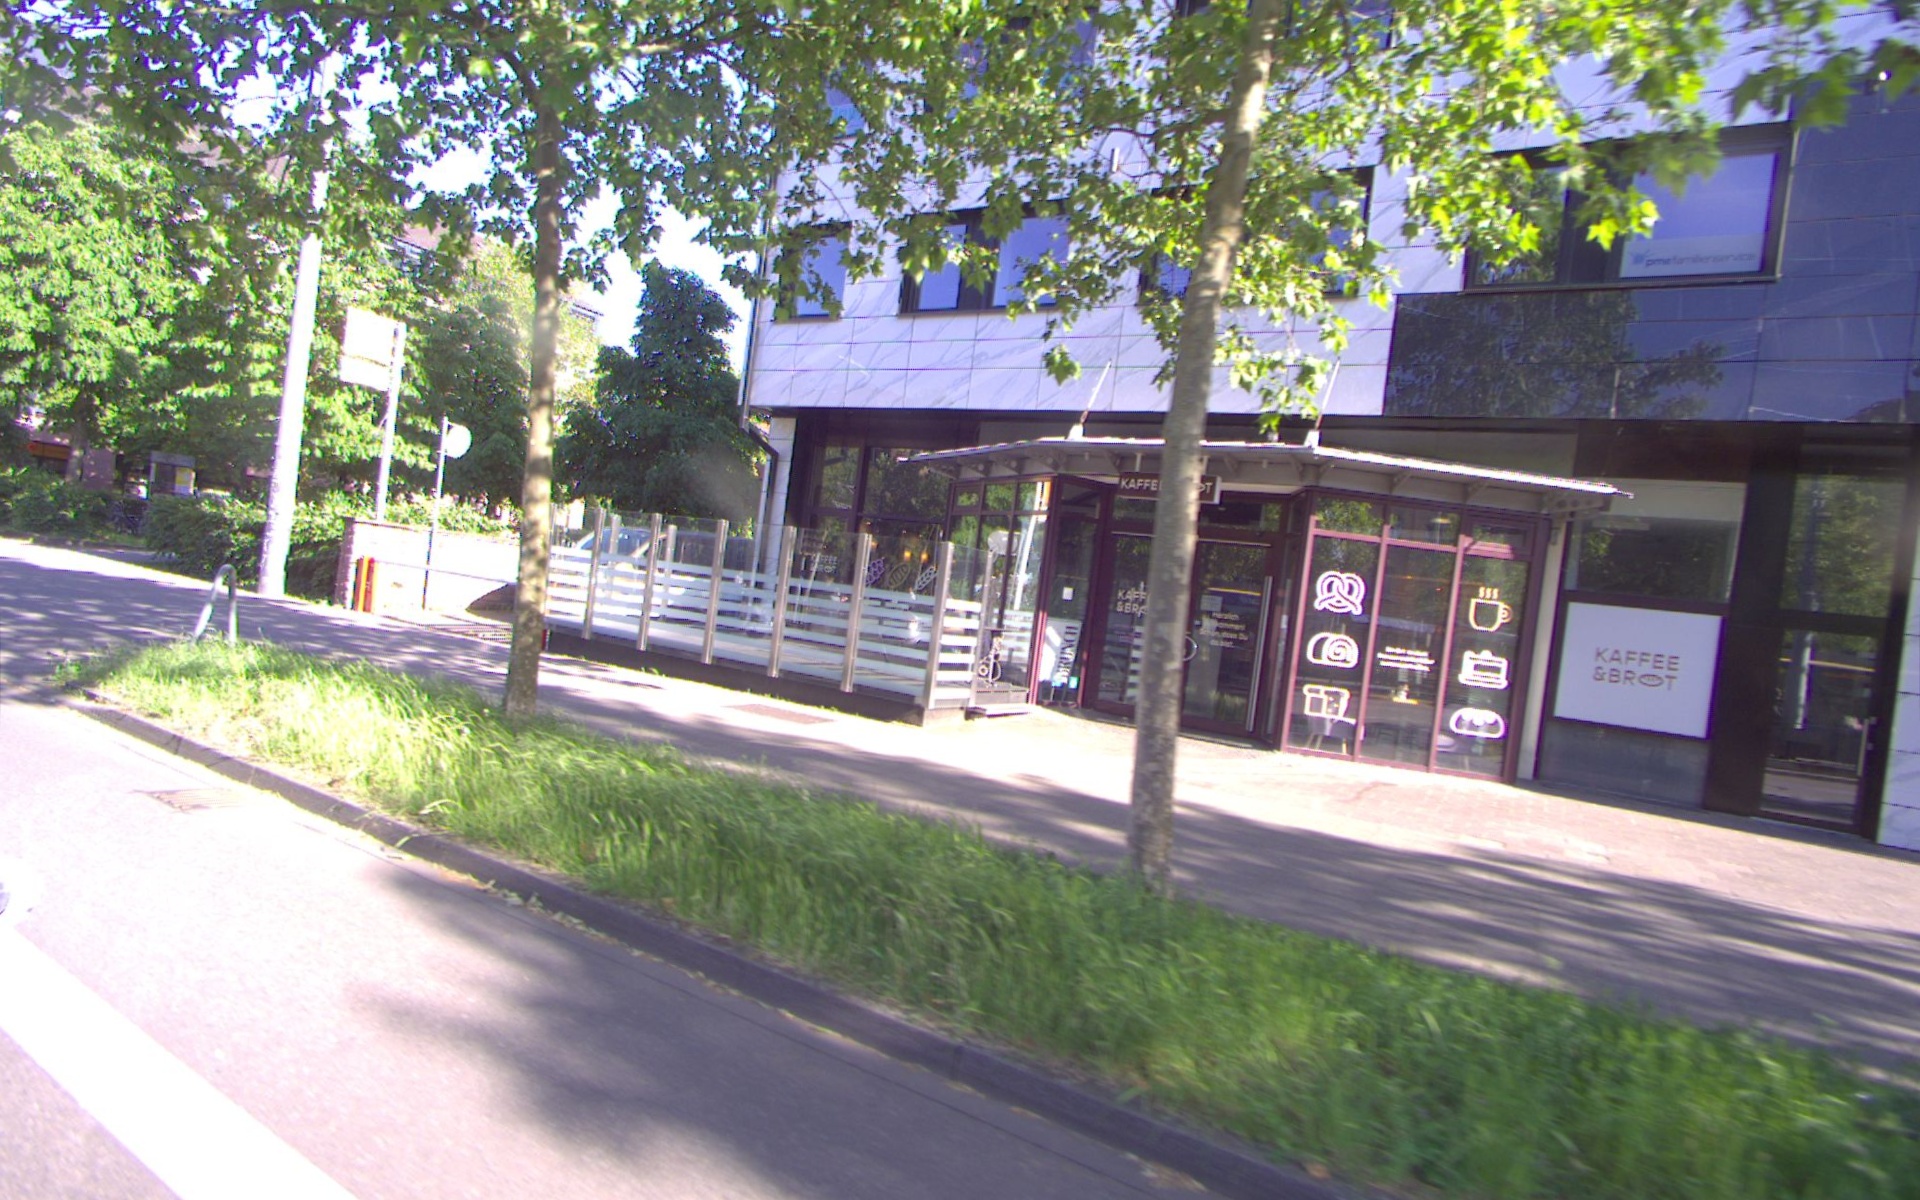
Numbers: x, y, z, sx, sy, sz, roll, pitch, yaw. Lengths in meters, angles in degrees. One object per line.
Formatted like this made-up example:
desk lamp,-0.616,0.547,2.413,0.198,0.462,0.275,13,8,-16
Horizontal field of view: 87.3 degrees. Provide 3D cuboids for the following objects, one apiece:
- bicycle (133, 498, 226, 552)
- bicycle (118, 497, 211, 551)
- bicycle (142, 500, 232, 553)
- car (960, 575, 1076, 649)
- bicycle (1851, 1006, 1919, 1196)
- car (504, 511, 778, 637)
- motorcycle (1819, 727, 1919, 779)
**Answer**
bicycle,-22.842,-2.187,29.486,0.565,1.331,1.997,7,1,34
bicycle,-23.413,-2.219,29.652,0.565,1.331,1.997,7,1,34
bicycle,-23.134,-2.192,30.144,0.565,1.331,1.997,7,1,34
car,1.694,0.371,28.153,1.568,1.692,3.614,7,0,31
bicycle,3.554,1.723,2.745,1.366,0.357,1.611,7,0,31
car,-5.935,-0.400,19.399,1.881,2.011,4.898,7,2,31
motorcycle,26.606,4.439,29.276,1.074,1.079,2.539,7,0,5
